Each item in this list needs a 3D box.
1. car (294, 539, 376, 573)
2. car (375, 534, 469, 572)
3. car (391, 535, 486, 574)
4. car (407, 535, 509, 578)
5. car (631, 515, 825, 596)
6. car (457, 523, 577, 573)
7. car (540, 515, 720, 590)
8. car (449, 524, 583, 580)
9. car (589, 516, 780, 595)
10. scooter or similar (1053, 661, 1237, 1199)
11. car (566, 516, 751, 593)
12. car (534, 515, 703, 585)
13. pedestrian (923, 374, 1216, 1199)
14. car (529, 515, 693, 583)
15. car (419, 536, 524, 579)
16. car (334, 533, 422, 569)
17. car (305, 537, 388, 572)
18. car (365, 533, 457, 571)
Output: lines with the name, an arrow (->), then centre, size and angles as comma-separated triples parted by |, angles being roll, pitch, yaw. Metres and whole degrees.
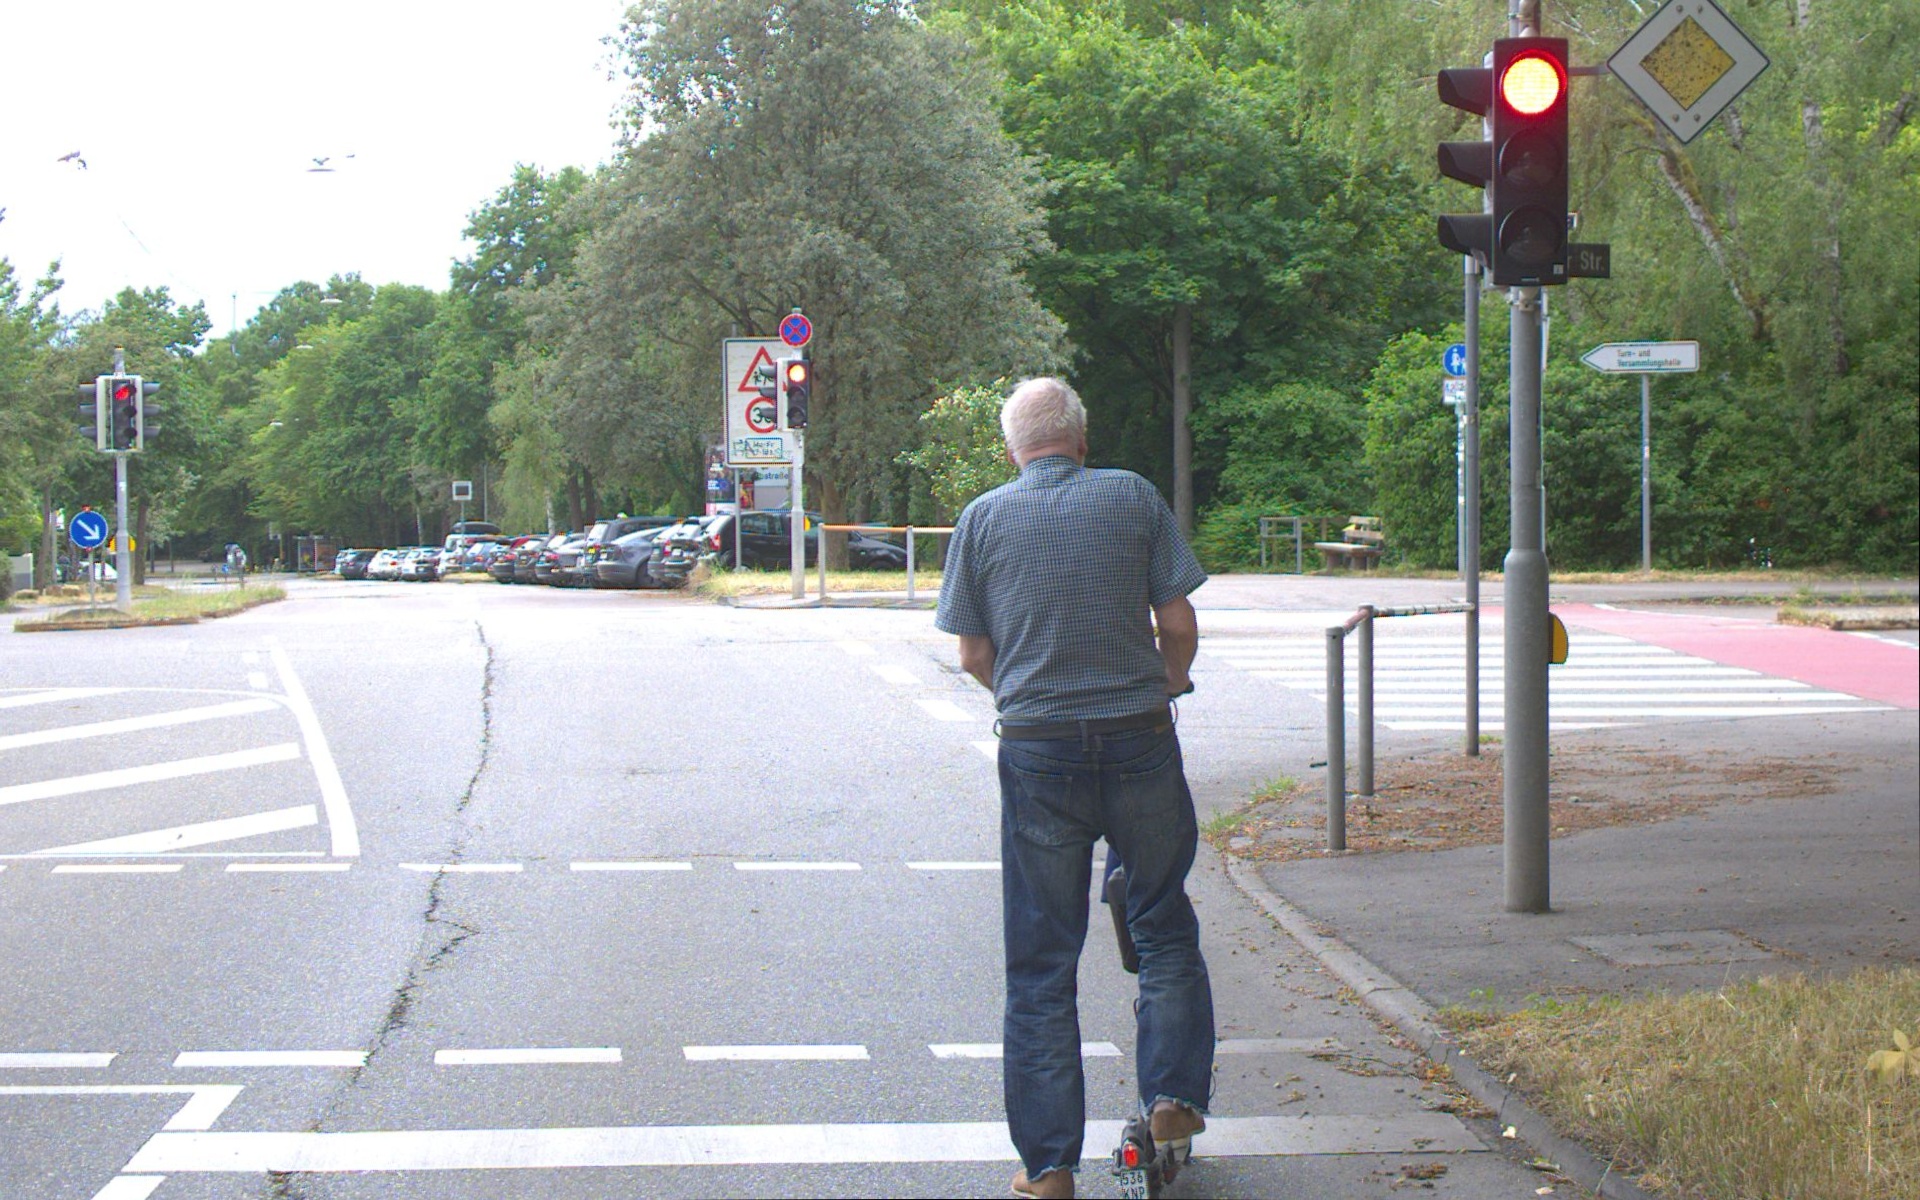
car -> -32.348, -2.298, 177.974 | 3.840, 1.605, 1.729 | -3, 2, -23
car -> -24.448, -2.144, 156.204 | 3.840, 1.605, 1.729 | -3, 2, -23
car -> -23.374, -2.046, 154.072 | 3.840, 1.605, 1.729 | -3, 2, -23
car -> -20.852, -1.819, 142.769 | 3.840, 1.605, 1.729 | -3, 2, -23
car -> -5.050, -0.976, 74.791 | 3.840, 1.605, 1.729 | -3, 2, -21
car -> -15.702, -1.844, 121.892 | 3.840, 1.605, 1.729 | -3, 2, -23
car -> -7.815, -1.138, 81.337 | 3.840, 1.605, 1.729 | -3, 2, -23
car -> -14.055, -1.531, 108.926 | 3.840, 1.605, 1.729 | -3, 2, -23
car -> -6.151, -1.007, 76.761 | 3.841, 1.605, 1.728 | -3, 2, -24
scooter or similar -> 0.414, 0.748, 7.398 | 0.282, 1.174, 1.177 | -1, 1, 8
car -> -6.953, -1.059, 79.302 | 3.840, 1.605, 1.729 | -3, 2, -23
car -> -8.602, -1.273, 86.650 | 3.840, 1.605, 1.729 | -3, 2, -23
pedestrian -> 0.249, 0.422, 7.568 | 0.573, 1.807, 0.420 | -1, 1, 8
car -> -9.042, -1.319, 89.062 | 3.840, 1.605, 1.729 | -3, 2, -23
car -> -19.747, -1.739, 139.094 | 3.840, 1.605, 1.729 | -3, 2, -23
car -> -28.061, -2.374, 165.840 | 3.840, 1.605, 1.729 | -3, 2, -23
car -> -31.327, -2.326, 175.636 | 3.840, 1.605, 1.729 | -3, 2, -23
car -> -25.330, -2.201, 158.637 | 3.840, 1.605, 1.729 | -3, 2, -23
